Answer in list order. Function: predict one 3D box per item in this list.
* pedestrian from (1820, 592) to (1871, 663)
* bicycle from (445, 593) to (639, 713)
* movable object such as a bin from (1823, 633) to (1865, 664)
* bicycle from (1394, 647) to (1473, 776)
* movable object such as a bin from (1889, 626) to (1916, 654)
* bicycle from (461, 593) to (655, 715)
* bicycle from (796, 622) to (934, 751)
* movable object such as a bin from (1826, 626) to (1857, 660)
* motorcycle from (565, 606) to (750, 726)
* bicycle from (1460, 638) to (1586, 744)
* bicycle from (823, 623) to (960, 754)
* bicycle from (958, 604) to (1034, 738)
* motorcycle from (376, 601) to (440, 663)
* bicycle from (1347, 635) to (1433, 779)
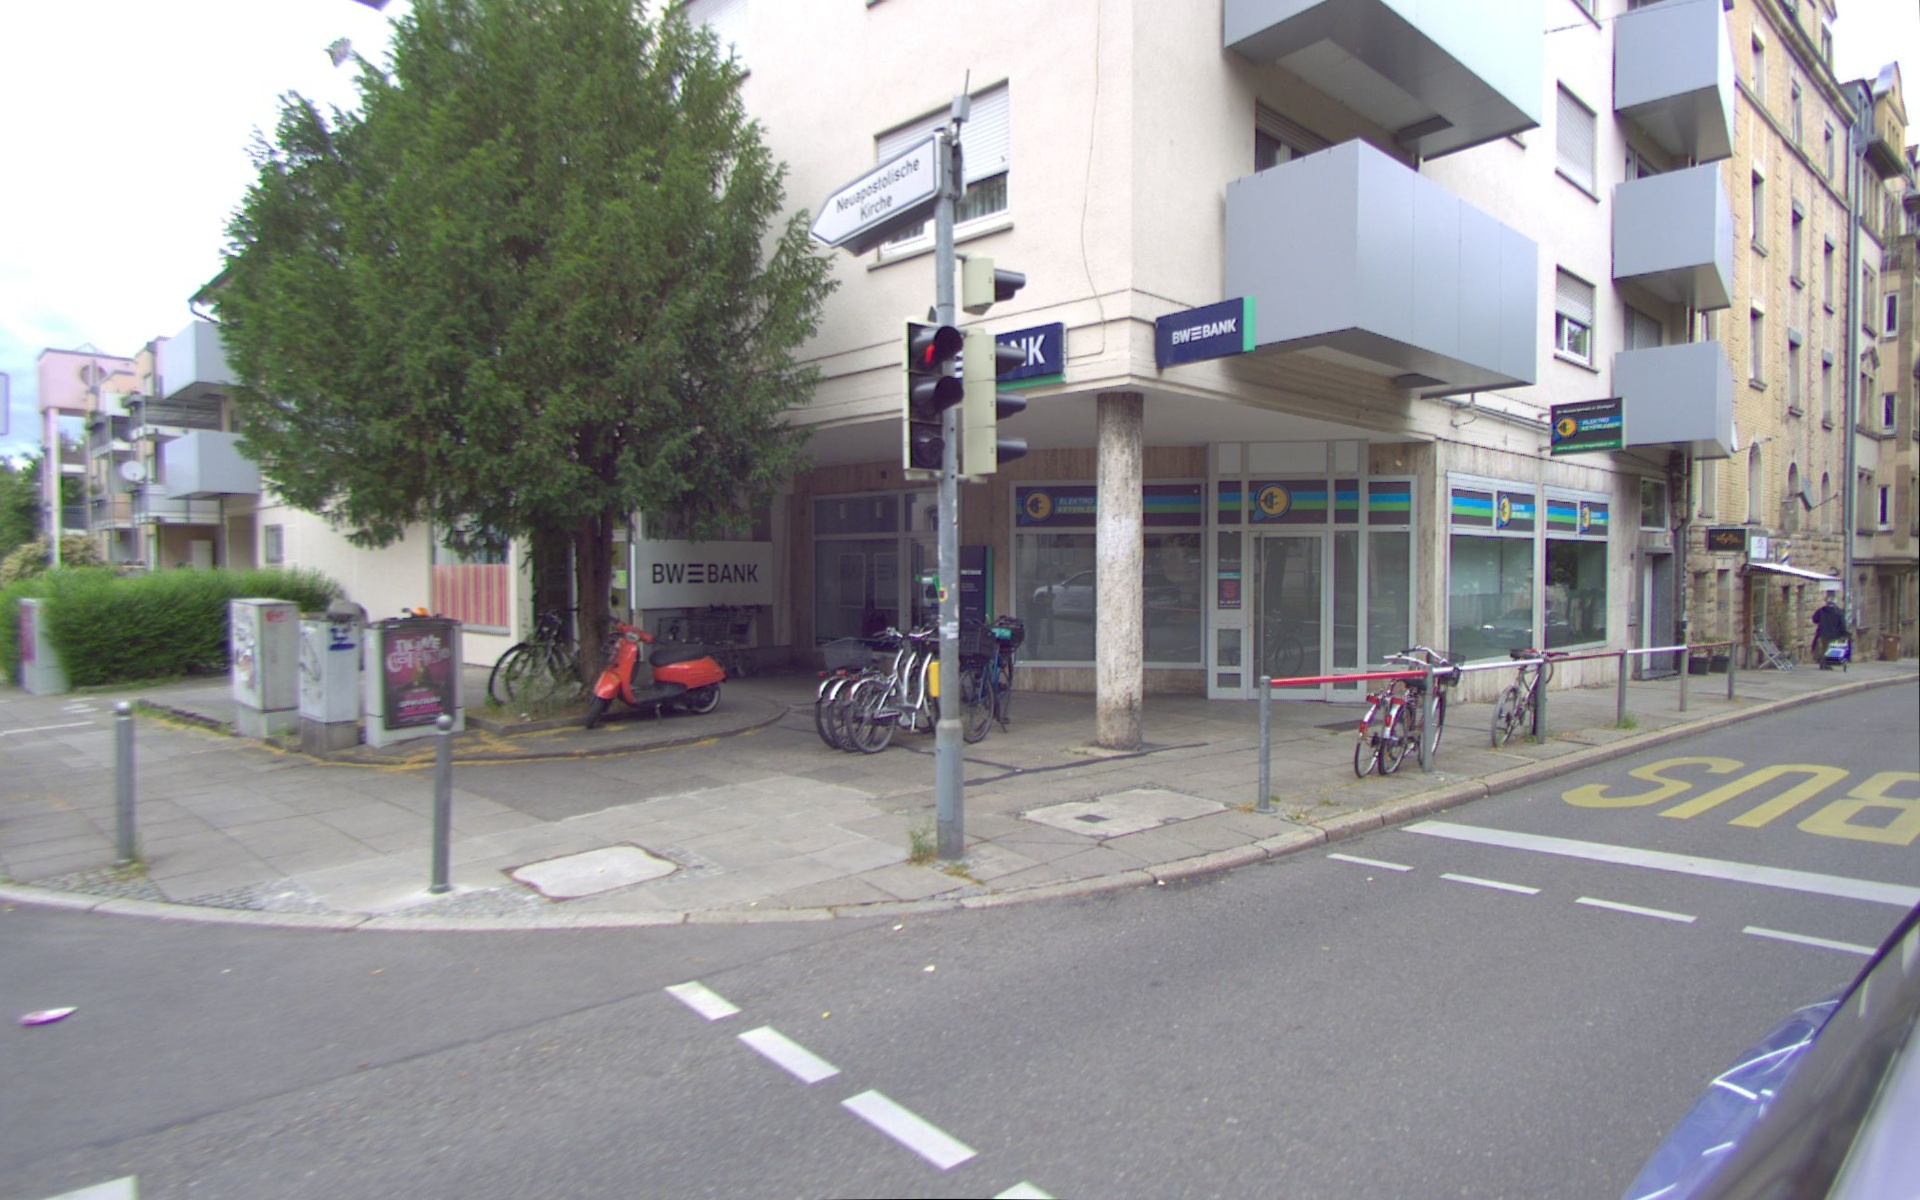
[{"bbox_3d":[22.165,0.676,25.334,0.843,1.713,0.753,2,2,-39],"label":"pedestrian"},{"bbox_3d":[-4.552,0.523,11.240,0.275,1.202,2.303,0,1,30],"label":"bicycle"},{"bbox_3d":[21.566,1.178,24.699,0.843,0.677,0.609,2,2,-39],"label":"movable object such as a bin"},{"bbox_3d":[4.201,0.934,8.928,0.285,0.943,1.737,0,1,37],"label":"bicycle"},{"bbox_3d":[31.489,1.325,33.810,0.552,0.915,0.596,2,-1,-38],"label":"movable object such as a bin"},{"bbox_3d":[-4.319,0.526,11.097,0.275,1.202,2.303,0,1,30],"label":"bicycle"},{"bbox_3d":[-0.857,0.769,9.578,0.317,1.056,1.741,0,1,32],"label":"bicycle"},{"bbox_3d":[24.933,1.207,28.626,0.494,0.915,0.596,-3,2,-38],"label":"movable object such as a bin"},{"bbox_3d":[-3.104,0.637,10.498,1.770,1.119,0.571,0,1,-41],"label":"motorcycle"},{"bbox_3d":[5.883,0.910,10.535,1.743,0.943,0.570,0,1,-40],"label":"bicycle"},{"bbox_3d":[-0.593,0.772,9.412,0.317,1.056,1.741,0,1,32],"label":"bicycle"},{"bbox_3d":[0.397,0.667,10.306,0.315,1.213,1.751,0,1,18],"label":"bicycle"},{"bbox_3d":[-10.669,0.596,19.522,1.796,1.127,0.563,1,1,44],"label":"motorcycle"},{"bbox_3d":[3.760,0.873,8.781,0.285,1.068,1.737,0,1,37],"label":"bicycle"}]
